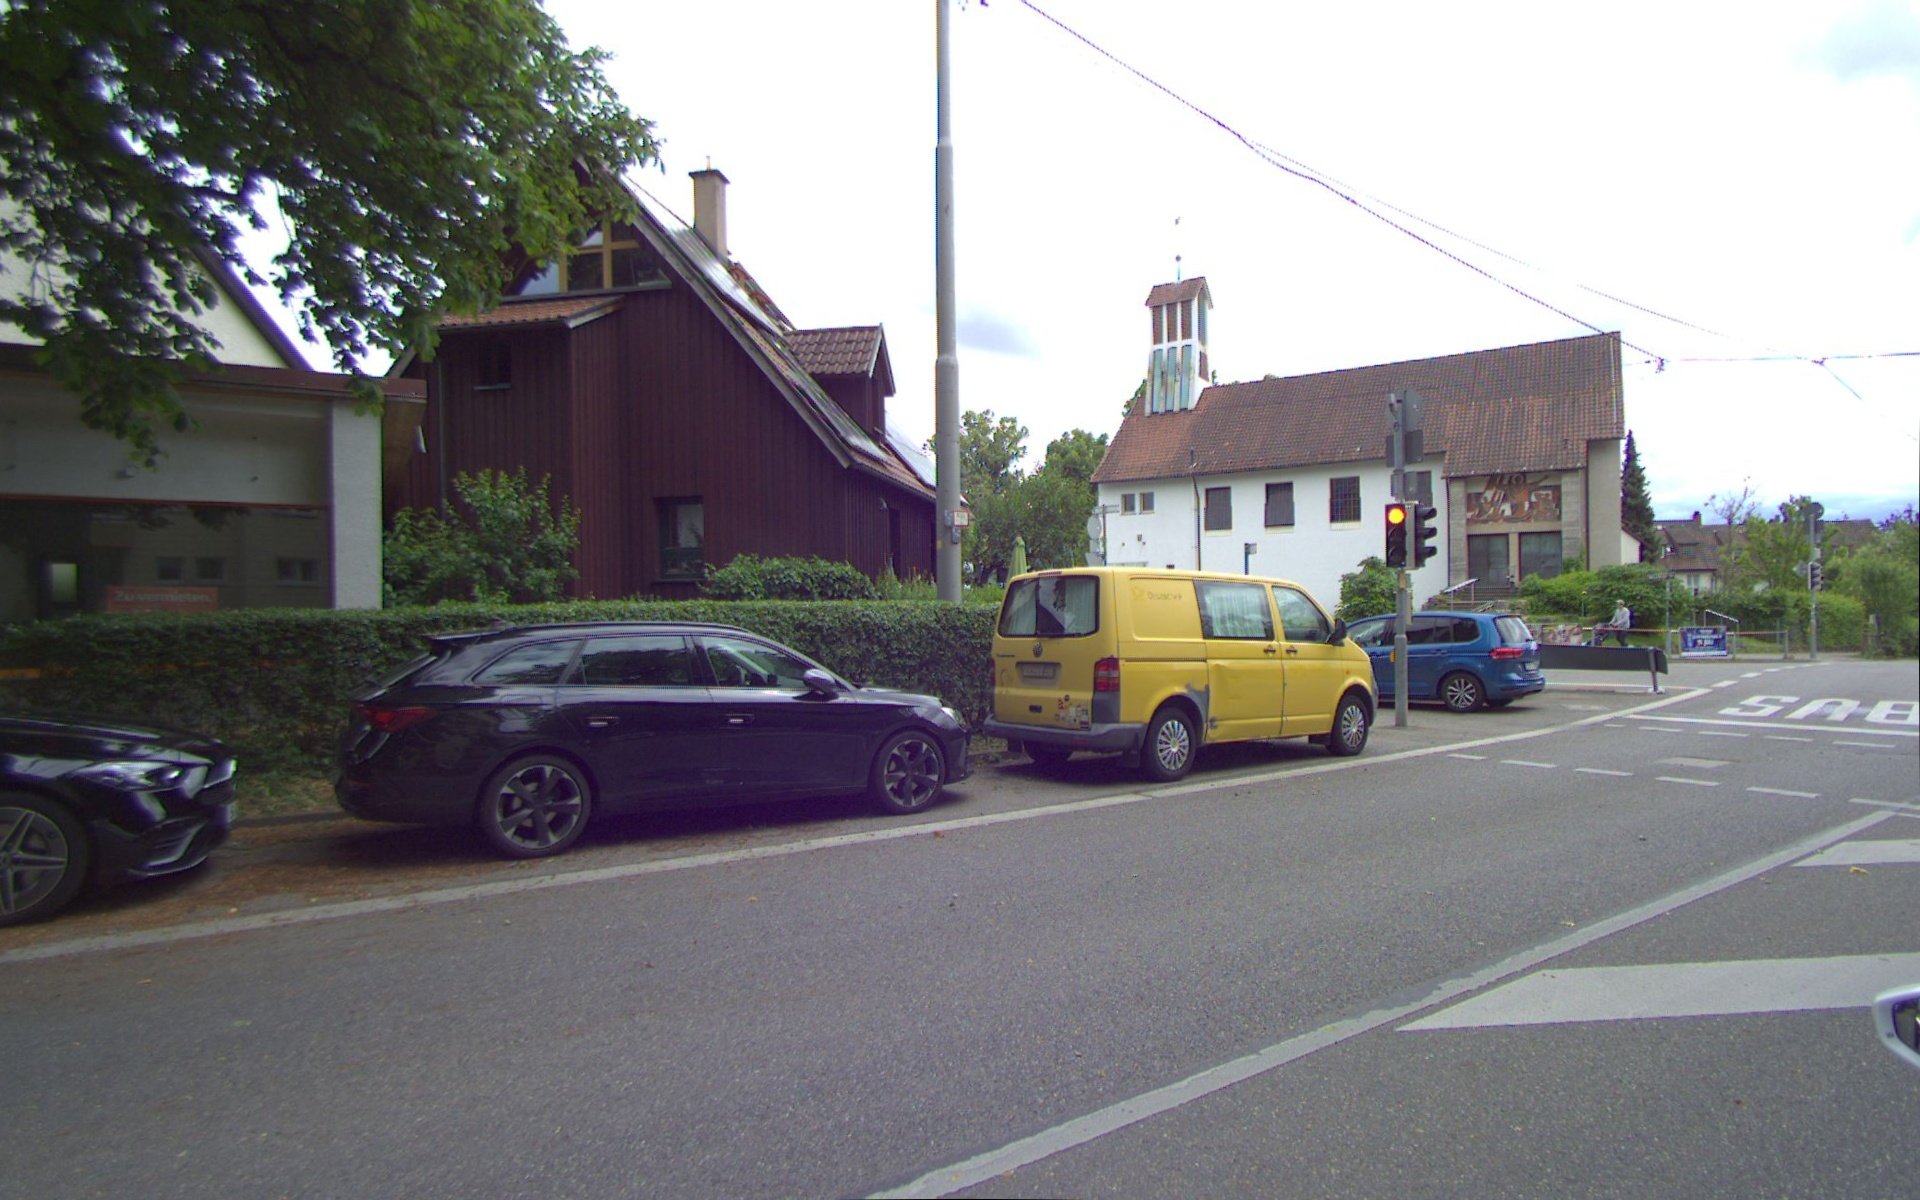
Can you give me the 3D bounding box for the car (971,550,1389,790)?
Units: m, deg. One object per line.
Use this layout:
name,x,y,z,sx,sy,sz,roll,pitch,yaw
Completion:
car,2.461,0.647,10.679,4.523,2.040,1.870,1,-2,-37

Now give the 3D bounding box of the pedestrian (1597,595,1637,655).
pedestrian,20.956,0.795,32.055,0.869,1.887,0.574,0,-1,0

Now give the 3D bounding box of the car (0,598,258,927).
car,-6.214,0.761,4.751,4.561,1.520,1.984,1,-2,-31

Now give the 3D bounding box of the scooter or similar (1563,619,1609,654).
scooter or similar,19.968,1.162,32.058,1.089,1.095,0.577,0,-1,-2

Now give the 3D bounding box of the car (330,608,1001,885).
car,-1.997,0.844,7.435,4.494,1.505,1.681,1,-2,-34

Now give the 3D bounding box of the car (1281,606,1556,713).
car,7.813,0.992,17.361,1.806,1.632,3.948,1,-3,-44
